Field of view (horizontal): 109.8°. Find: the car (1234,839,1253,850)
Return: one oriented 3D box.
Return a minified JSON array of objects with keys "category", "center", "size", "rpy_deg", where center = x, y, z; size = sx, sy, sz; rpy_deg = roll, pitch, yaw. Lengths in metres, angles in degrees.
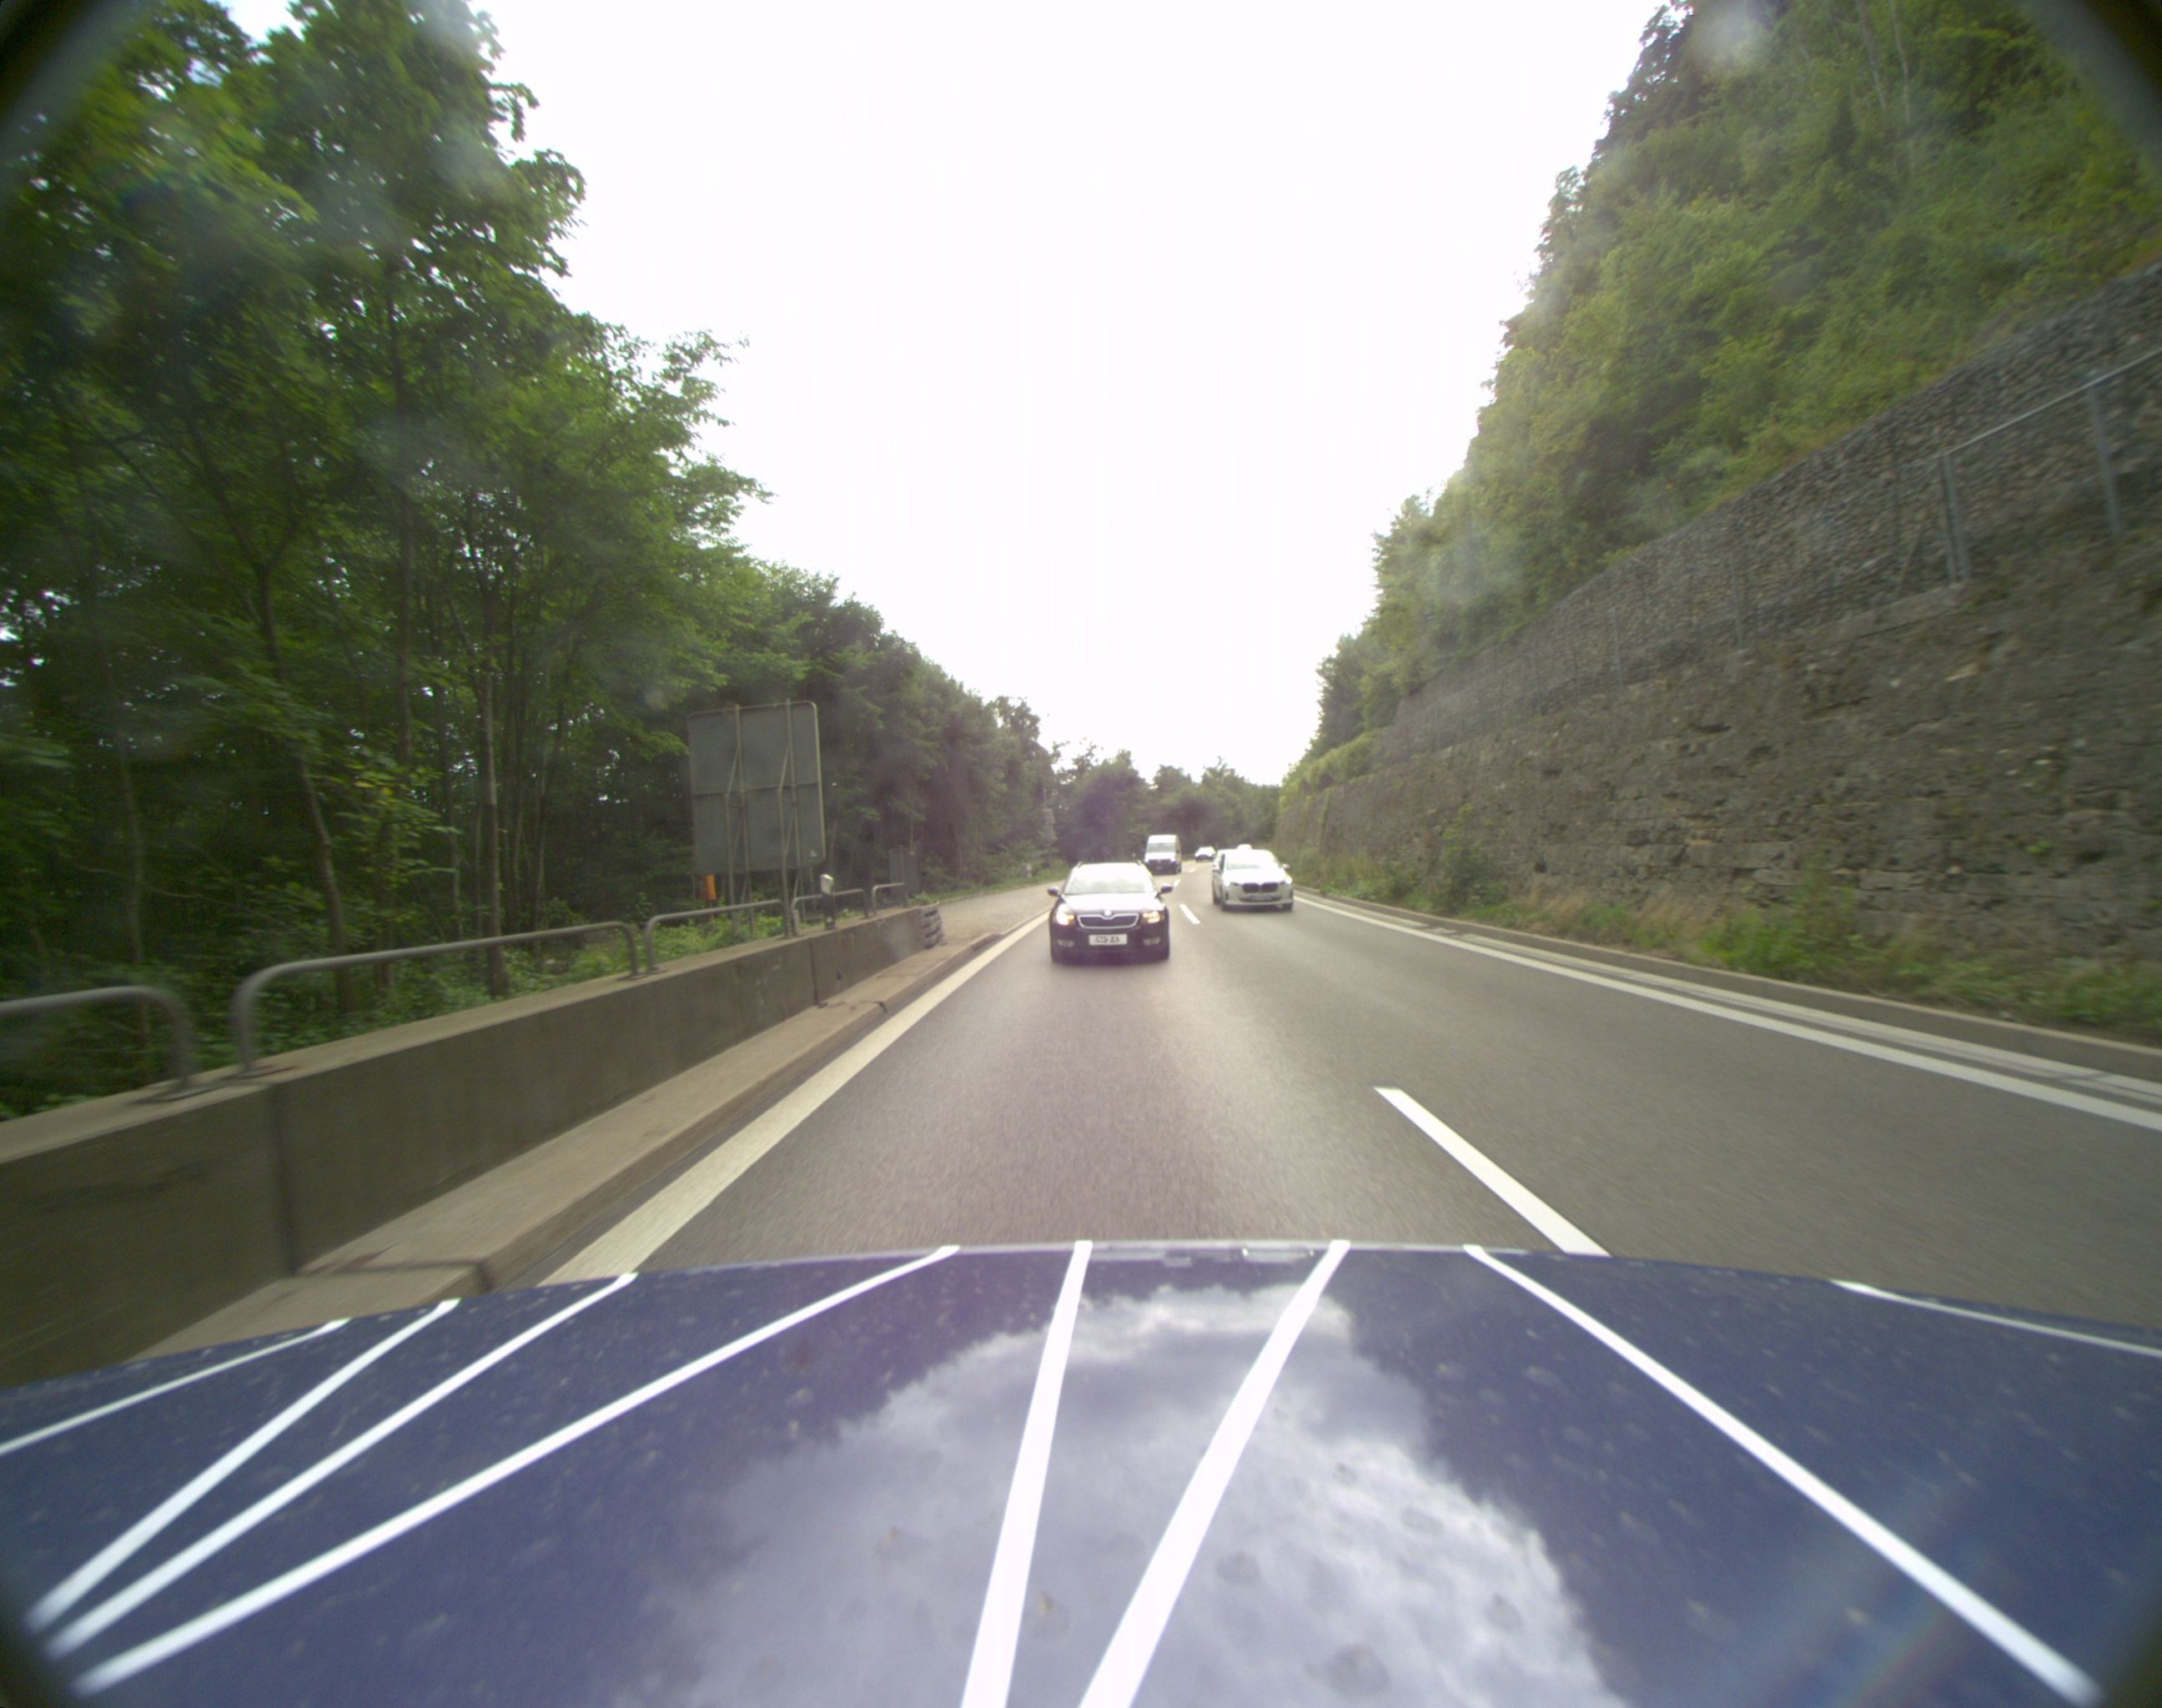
[{"category":"car","center":[22.416,-1.304,104.585],"size":[1.820,1.546,4.006],"rpy_deg":[-1,0,23]}]

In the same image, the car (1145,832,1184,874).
[{"category":"car","center":[5.614,-0.095,50.537],"size":[2.097,2.547,5.924],"rpy_deg":[-2,0,11]}]

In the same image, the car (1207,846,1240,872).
[{"category":"car","center":[9.144,0.321,49.006],"size":[1.822,1.546,4.002],"rpy_deg":[-2,0,7]}]

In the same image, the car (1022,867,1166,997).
[{"category":"car","center":[0.278,0.954,11.080],"size":[1.638,1.384,4.499],"rpy_deg":[-2,0,3]}]

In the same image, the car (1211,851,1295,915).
[{"category":"car","center":[4.642,0.730,21.024],"size":[1.822,1.546,4.002],"rpy_deg":[-2,0,6]}]

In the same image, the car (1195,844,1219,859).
[{"category":"car","center":[13.377,-0.281,80.337],"size":[1.820,1.546,4.005],"rpy_deg":[-1,0,20]}]
